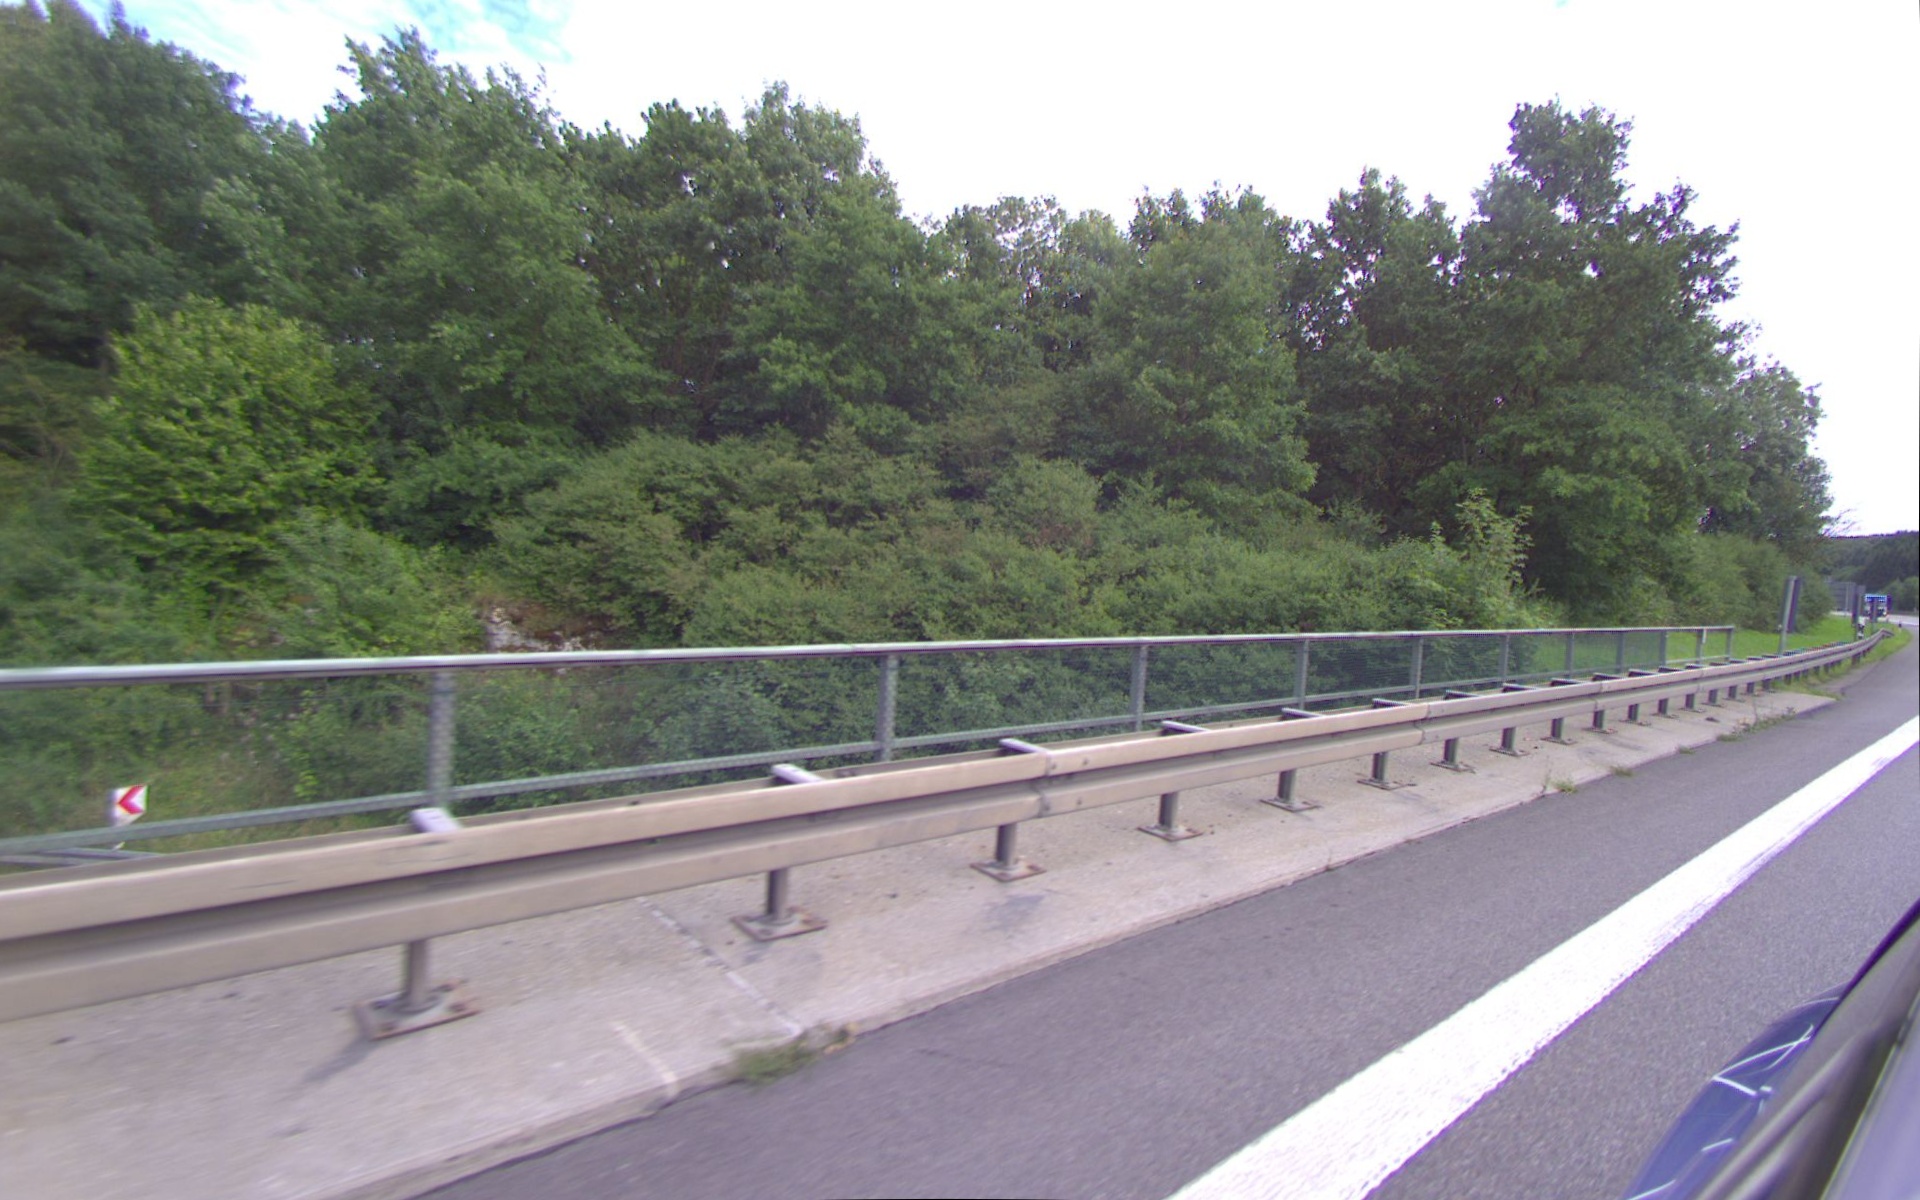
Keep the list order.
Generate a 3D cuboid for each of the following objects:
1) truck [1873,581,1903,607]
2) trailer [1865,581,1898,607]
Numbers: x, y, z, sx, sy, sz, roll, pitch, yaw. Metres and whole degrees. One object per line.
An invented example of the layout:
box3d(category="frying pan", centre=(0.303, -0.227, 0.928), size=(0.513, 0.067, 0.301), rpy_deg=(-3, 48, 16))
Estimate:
box3d(category="truck", centre=(145.713, -0.979, 158.942), size=(2.781, 4.021, 5.862), rpy_deg=(1, 1, 36))
box3d(category="trailer", centre=(149.857, -1.013, 164.630), size=(2.772, 4.004, 11.149), rpy_deg=(1, 1, 36))
